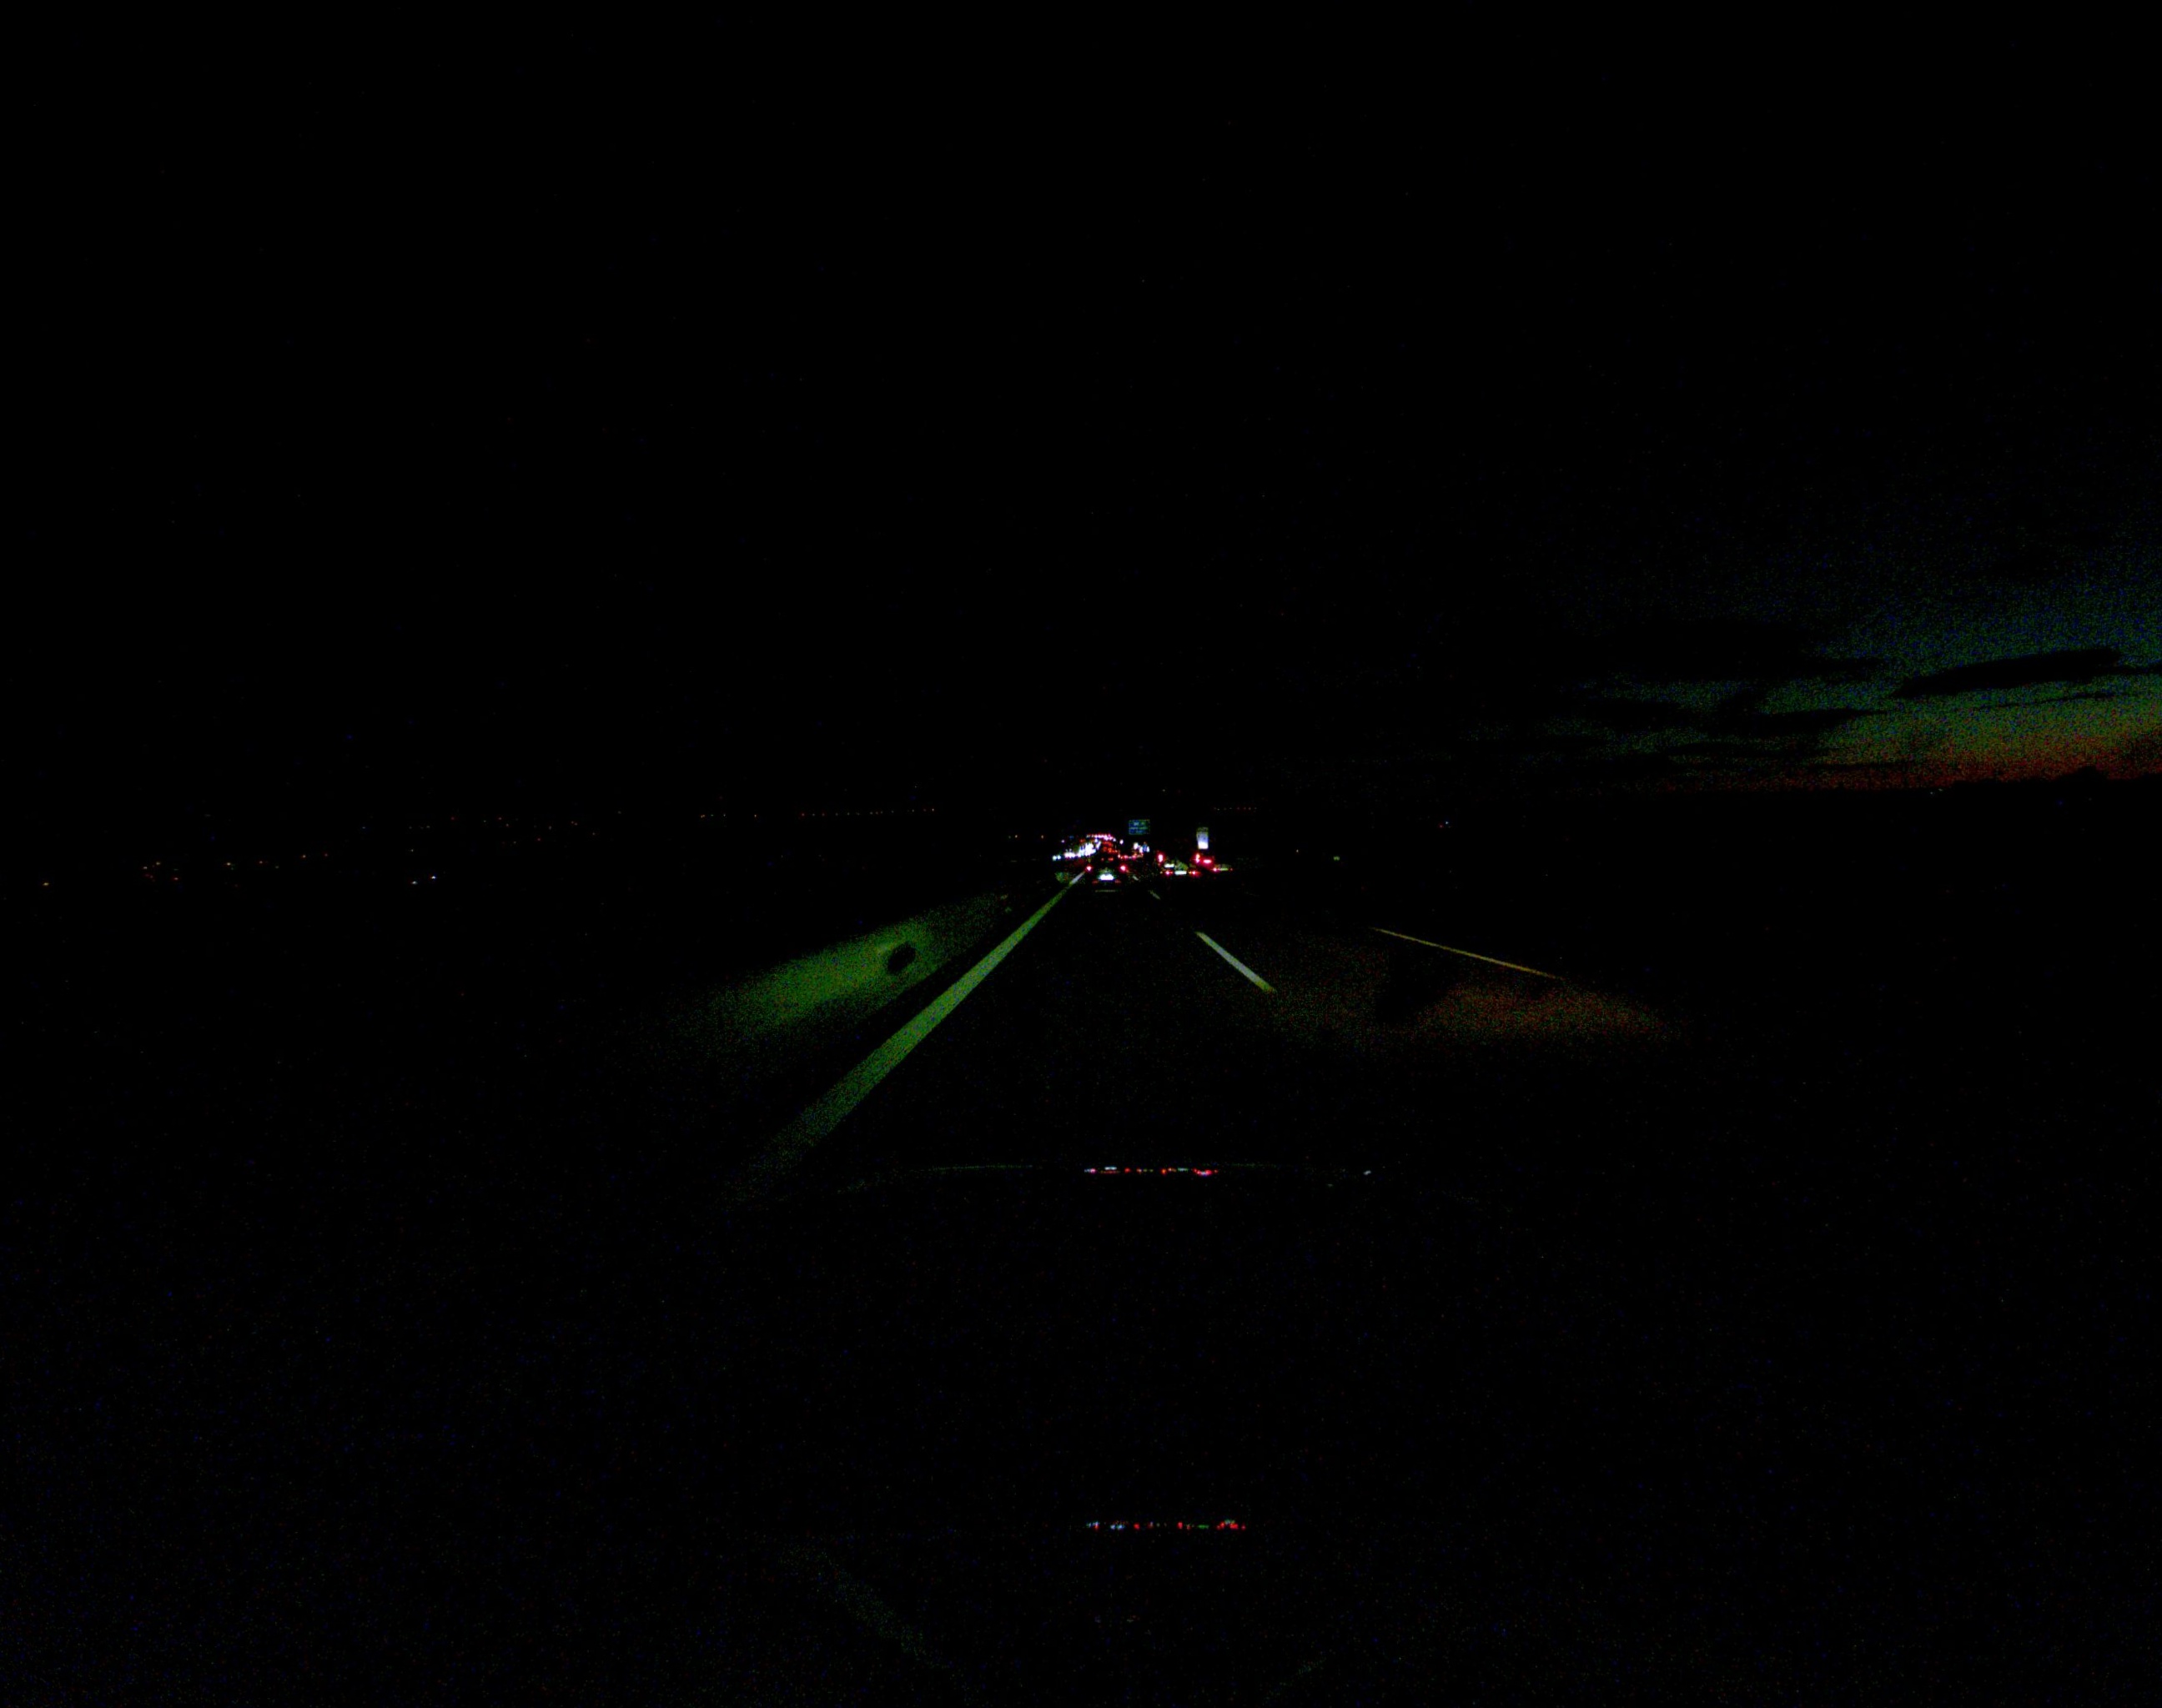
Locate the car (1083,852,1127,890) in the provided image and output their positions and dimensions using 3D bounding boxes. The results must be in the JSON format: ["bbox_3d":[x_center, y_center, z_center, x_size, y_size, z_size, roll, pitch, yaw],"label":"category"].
[{"bbox_3d":[1.068,0.704,35.524,1.787,1.469,3.775,-1,1,2],"label":"car"}]

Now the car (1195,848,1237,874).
[{"bbox_3d":[8.903,0.447,54.210,2.154,1.563,4.725,-2,0,2],"label":"car"}]

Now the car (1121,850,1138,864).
[{"bbox_3d":[6.993,0.373,118.577,2.342,1.914,4.725,-2,0,2],"label":"car"}]

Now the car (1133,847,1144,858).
[{"bbox_3d":[12.689,-0.350,179.819,2.342,2.075,4.725,-2,1,2],"label":"car"}]

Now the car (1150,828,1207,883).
[{"bbox_3d":[4.907,0.033,41.687,2.342,2.535,5.704,-2,1,2],"label":"car"}]

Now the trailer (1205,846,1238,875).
[{"bbox_3d":[8.692,0.411,50.599,1.560,1.693,2.822,-2,0,1],"label":"trailer"}]

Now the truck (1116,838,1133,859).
[{"bbox_3d":[8.408,-1.044,156.968,2.772,3.955,7.993,-2,0,0],"label":"truck"}]

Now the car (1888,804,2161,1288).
[{"bbox_3d":[4.310,0.613,1.307,1.640,1.596,4.512,-2,0,2],"label":"car"}]

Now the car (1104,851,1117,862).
[{"bbox_3d":[4.092,0.300,112.617,1.738,1.440,4.370,-2,1,2],"label":"car"}]
